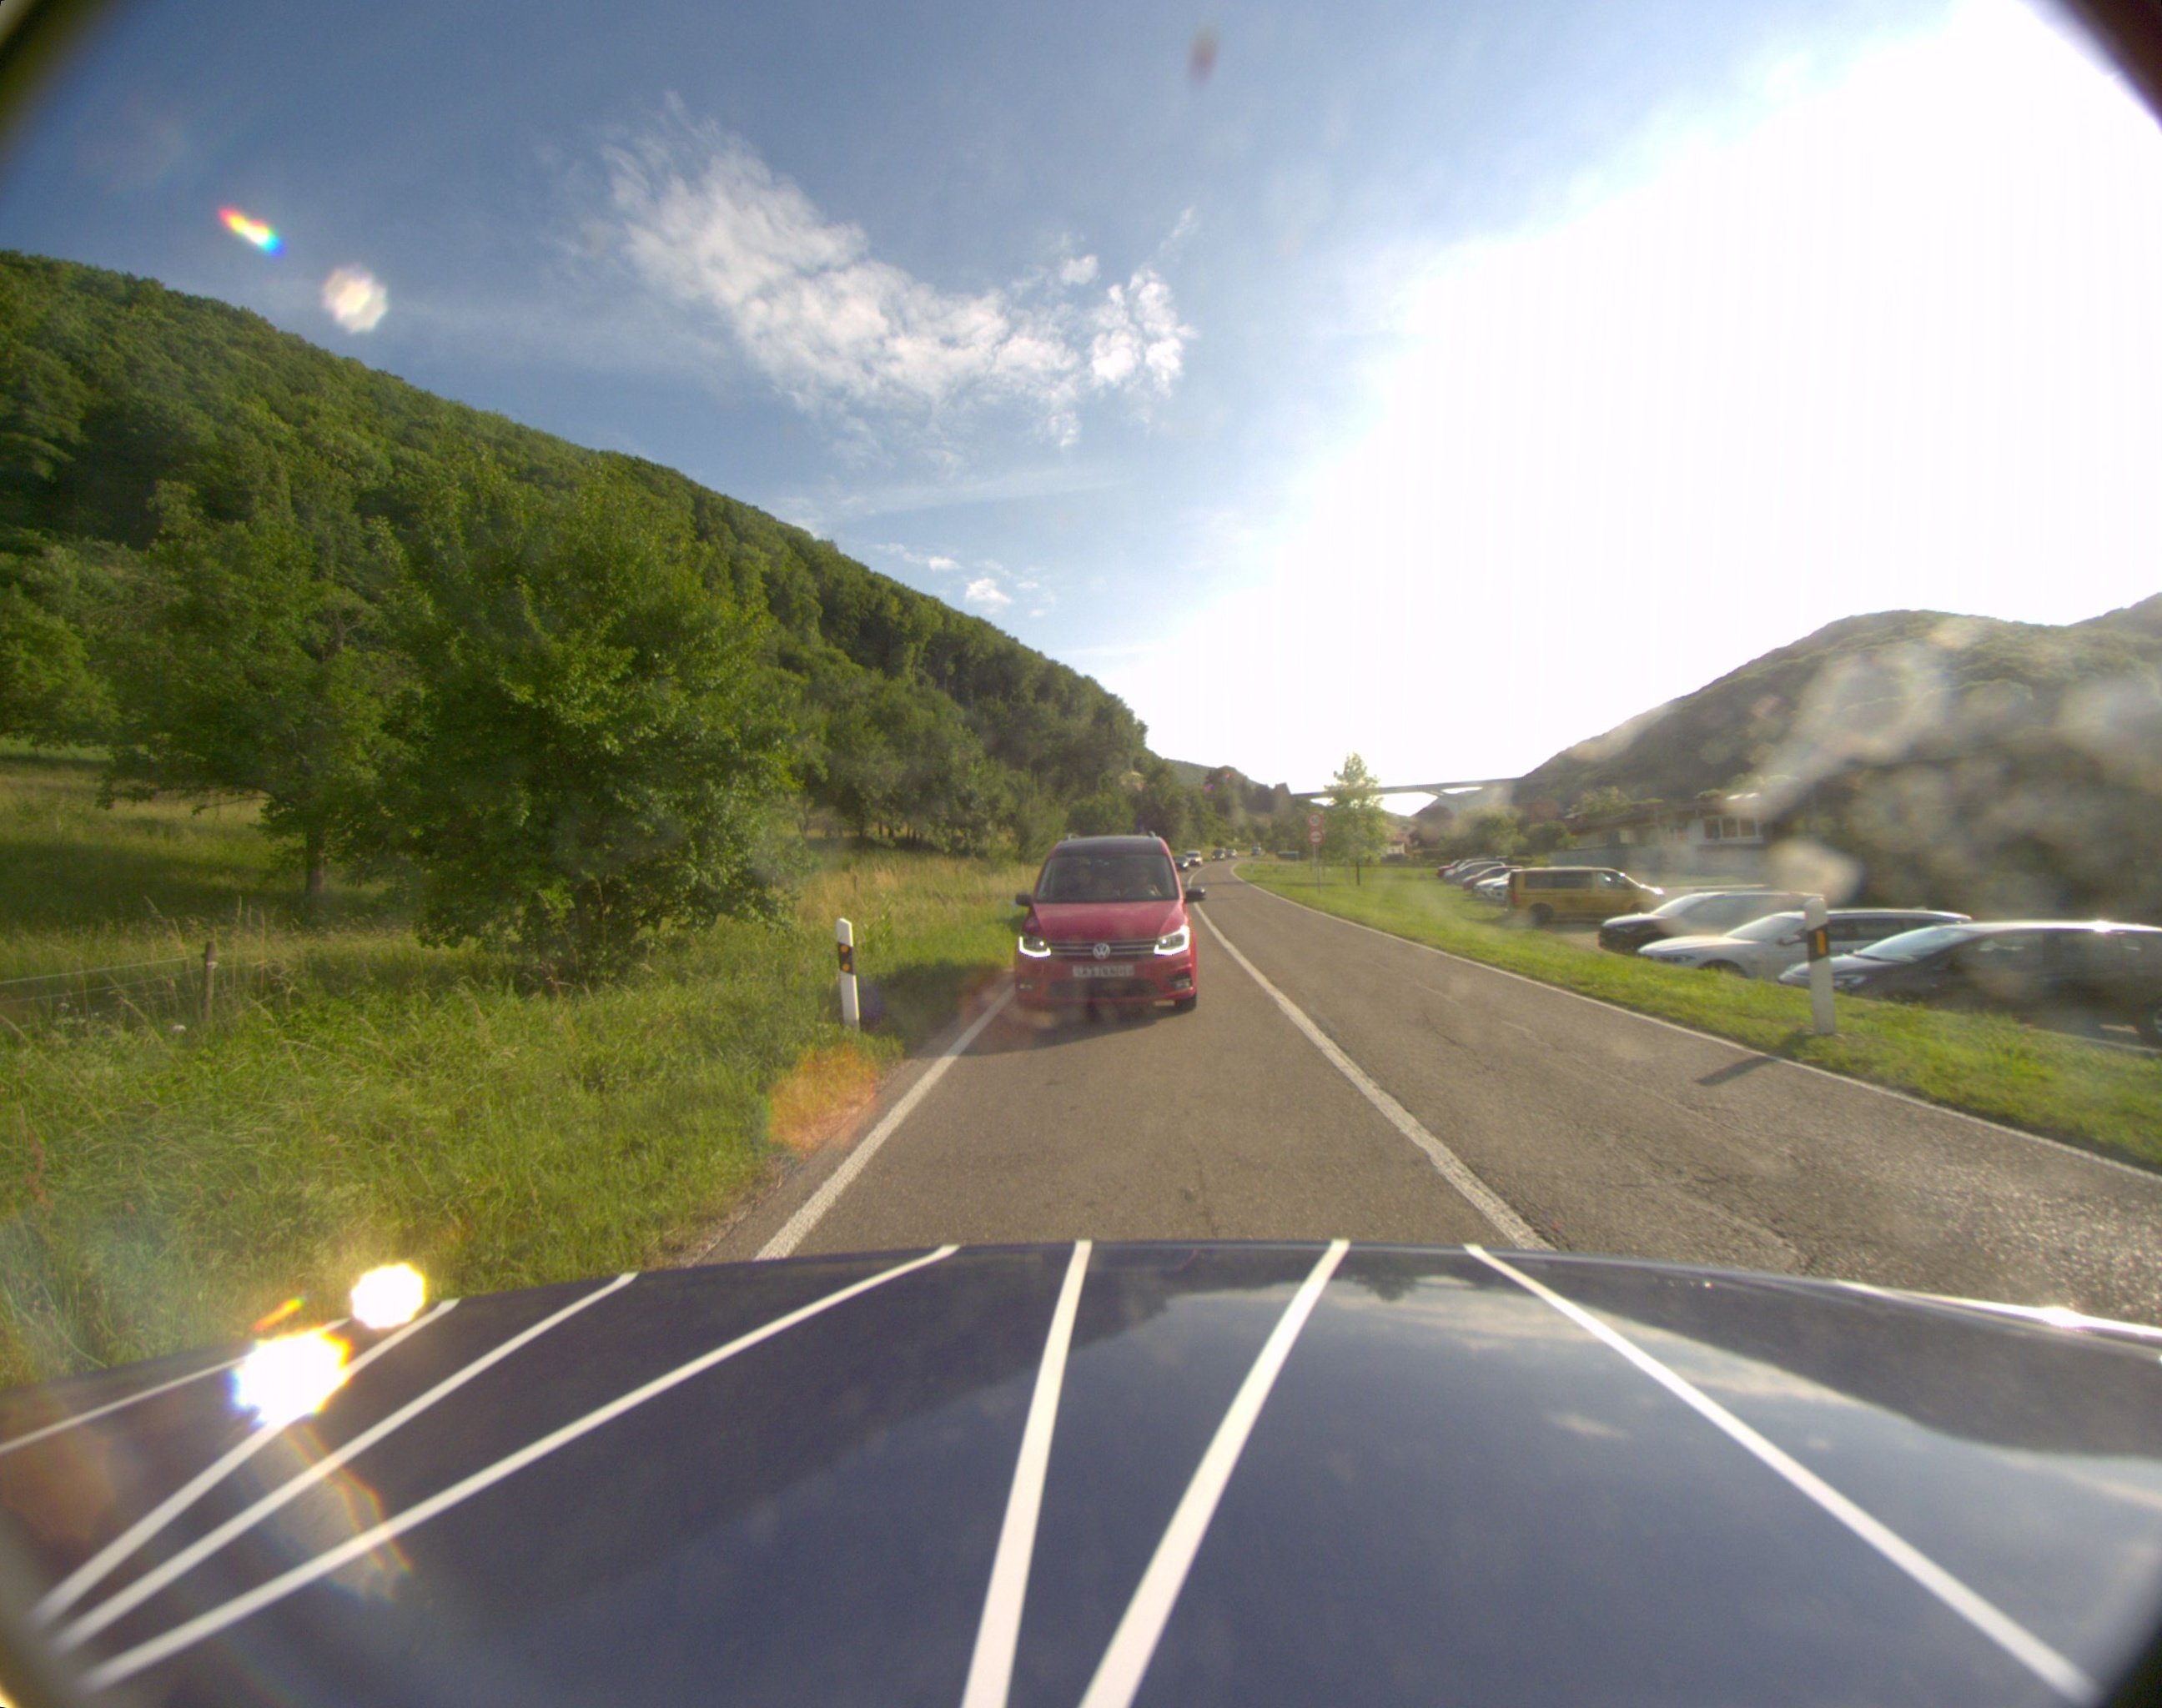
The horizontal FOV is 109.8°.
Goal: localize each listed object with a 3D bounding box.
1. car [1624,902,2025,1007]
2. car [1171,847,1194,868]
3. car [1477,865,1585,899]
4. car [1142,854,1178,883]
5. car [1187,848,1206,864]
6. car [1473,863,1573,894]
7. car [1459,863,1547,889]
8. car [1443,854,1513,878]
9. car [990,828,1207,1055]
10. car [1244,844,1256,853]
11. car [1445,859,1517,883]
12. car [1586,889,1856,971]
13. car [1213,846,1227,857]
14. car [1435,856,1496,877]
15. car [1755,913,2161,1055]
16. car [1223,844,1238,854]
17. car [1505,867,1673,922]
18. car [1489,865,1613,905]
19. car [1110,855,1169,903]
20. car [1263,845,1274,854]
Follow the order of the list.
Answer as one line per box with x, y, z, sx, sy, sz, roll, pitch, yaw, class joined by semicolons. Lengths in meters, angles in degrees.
12.596;1.645;13.314;4.644;1.488;1.915;-1;0;19;car
8.878;0.335;66.244;1.911;1.675;4.003;-2;-1;9;car
22.336;1.380;37.921;4.436;1.577;2.003;-1;0;23;car
4.369;0.800;42.507;1.798;1.464;4.285;-2;-1;4;car
13.188;0.182;86.671;1.797;1.725;4.287;-2;-1;12;car
23.733;1.335;40.998;4.436;1.573;2.003;-1;0;22;car
25.317;1.323;45.788;4.436;1.443;2.003;-1;0;23;car
31.057;0.953;59.581;4.664;1.752;2.003;-1;0;22;car
0.300;0.754;8.479;1.746;1.848;4.350;-2;-1;4;car
35.894;-1.190;161.426;1.908;1.893;4.005;-2;1;20;car
28.995;1.210;55.234;4.437;1.573;2.003;-2;0;22;car
14.392;1.718;17.419;4.288;1.628;1.915;-3;-1;18;car
21.303;-0.342;116.623;1.677;1.637;3.350;-2;-1;16;car
32.656;1.053;64.669;4.436;1.709;2.003;-1;0;22;car
12.180;1.662;10.430;3.990;1.526;1.836;-1;0;22;car
26.191;-0.870;133.347;1.996;1.706;4.006;-2;-1;19;car
17.825;1.397;26.974;4.652;1.802;2.003;-1;0;23;car
21.258;1.376;34.581;4.544;1.691;2.003;-1;0;23;car
1.981;0.812;25.946;1.798;1.464;4.285;-2;-1;4;car
42.828;-0.966;173.655;1.909;1.893;4.005;-2;1;19;car
